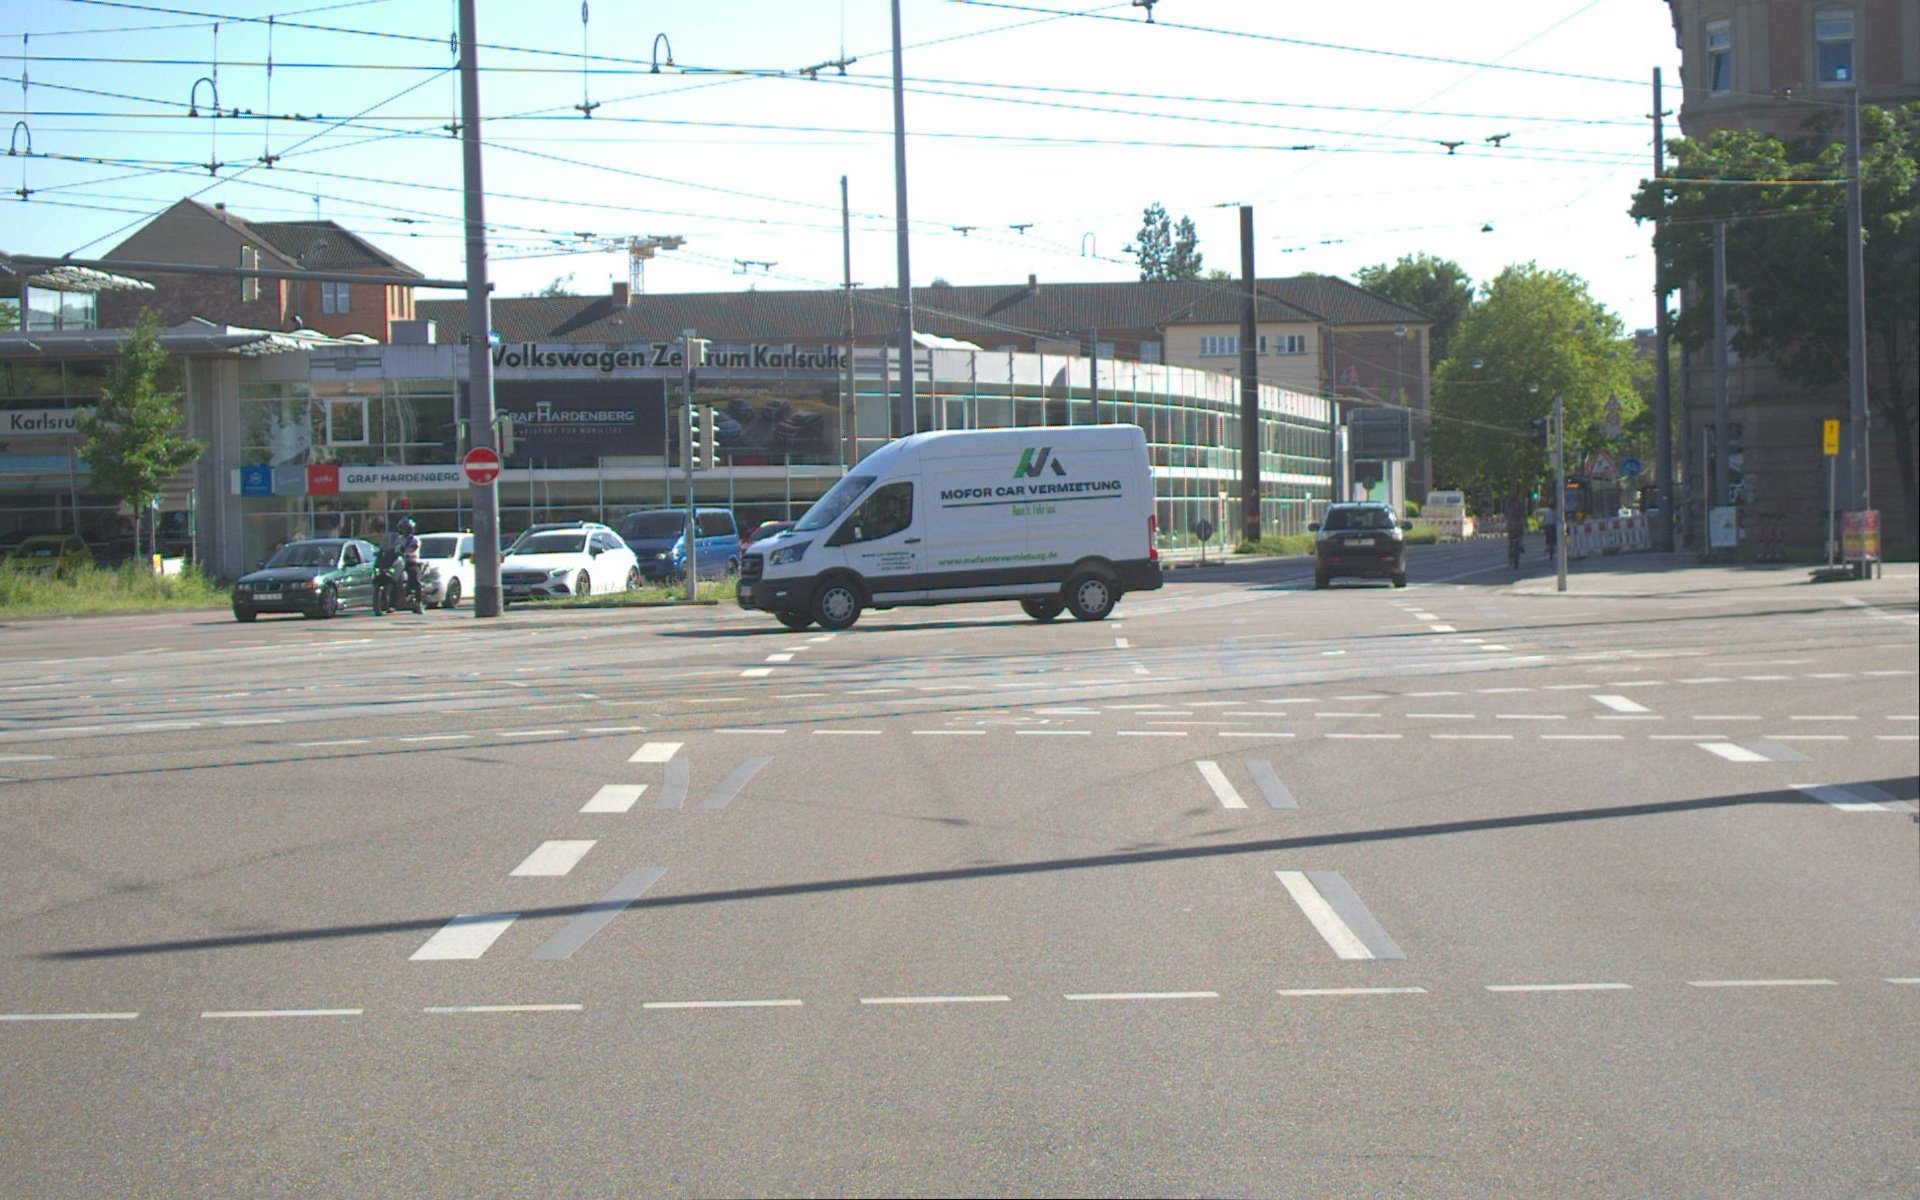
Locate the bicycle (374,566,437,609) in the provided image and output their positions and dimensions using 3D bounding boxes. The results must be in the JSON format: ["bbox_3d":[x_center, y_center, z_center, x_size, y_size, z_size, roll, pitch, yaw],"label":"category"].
[{"bbox_3d":[-9.730,-0.222,60.361,0.423,0.715,1.633,-1,1,17],"label":"bicycle"}]

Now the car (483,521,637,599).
[{"bbox_3d":[-7.524,-0.771,64.947,1.627,1.377,3.735,-1,1,14],"label":"car"}]

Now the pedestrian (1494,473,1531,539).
[{"bbox_3d":[13.796,-2.345,85.862,0.803,1.626,0.717,-1,1,18],"label":"pedestrian"}]

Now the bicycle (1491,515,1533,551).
[{"bbox_3d":[13.733,-1.676,85.461,0.743,0.867,1.930,-1,1,17],"label":"bicycle"}]

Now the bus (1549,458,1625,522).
[{"bbox_3d":[40.277,-6.948,220.041,3.839,3.595,24.853,1,1,12],"label":"bus"}]

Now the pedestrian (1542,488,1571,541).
[{"bbox_3d":[17.412,-2.498,100.359,0.746,1.517,0.717,-1,1,15],"label":"pedestrian"}]

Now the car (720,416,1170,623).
[{"bbox_3d":[-0.207,-1.157,48.364,5.903,2.735,2.145,-2,1,-19],"label":"car"}]

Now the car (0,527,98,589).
[{"bbox_3d":[-26.536,-1.241,99.876,1.966,1.700,4.084,-1,1,-1],"label":"car"}]

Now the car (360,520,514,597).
[{"bbox_3d":[-10.123,-0.823,66.828,1.627,1.419,3.683,-1,1,14],"label":"car"}]

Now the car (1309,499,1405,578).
[{"bbox_3d":[7.889,-1.239,68.524,1.699,1.497,4.264,-1,1,4],"label":"car"}]

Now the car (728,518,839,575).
[{"bbox_3d":[-4.400,-1.349,86.086,1.627,1.359,3.683,-1,1,16],"label":"car"}]

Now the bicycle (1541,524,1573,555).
[{"bbox_3d":[17.452,-1.780,100.479,0.743,0.867,1.930,-1,1,15],"label":"bicycle"}]

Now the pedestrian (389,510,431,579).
[{"bbox_3d":[-9.687,-0.975,60.543,0.423,1.200,0.749,-1,1,17],"label":"pedestrian"}]

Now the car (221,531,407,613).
[{"bbox_3d":[-11.391,-0.506,60.877,1.705,1.349,3.698,-1,1,17],"label":"car"}]

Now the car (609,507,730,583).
[{"bbox_3d":[-6.648,-1.277,78.958,1.627,1.686,3.683,-1,1,14],"label":"car"}]
